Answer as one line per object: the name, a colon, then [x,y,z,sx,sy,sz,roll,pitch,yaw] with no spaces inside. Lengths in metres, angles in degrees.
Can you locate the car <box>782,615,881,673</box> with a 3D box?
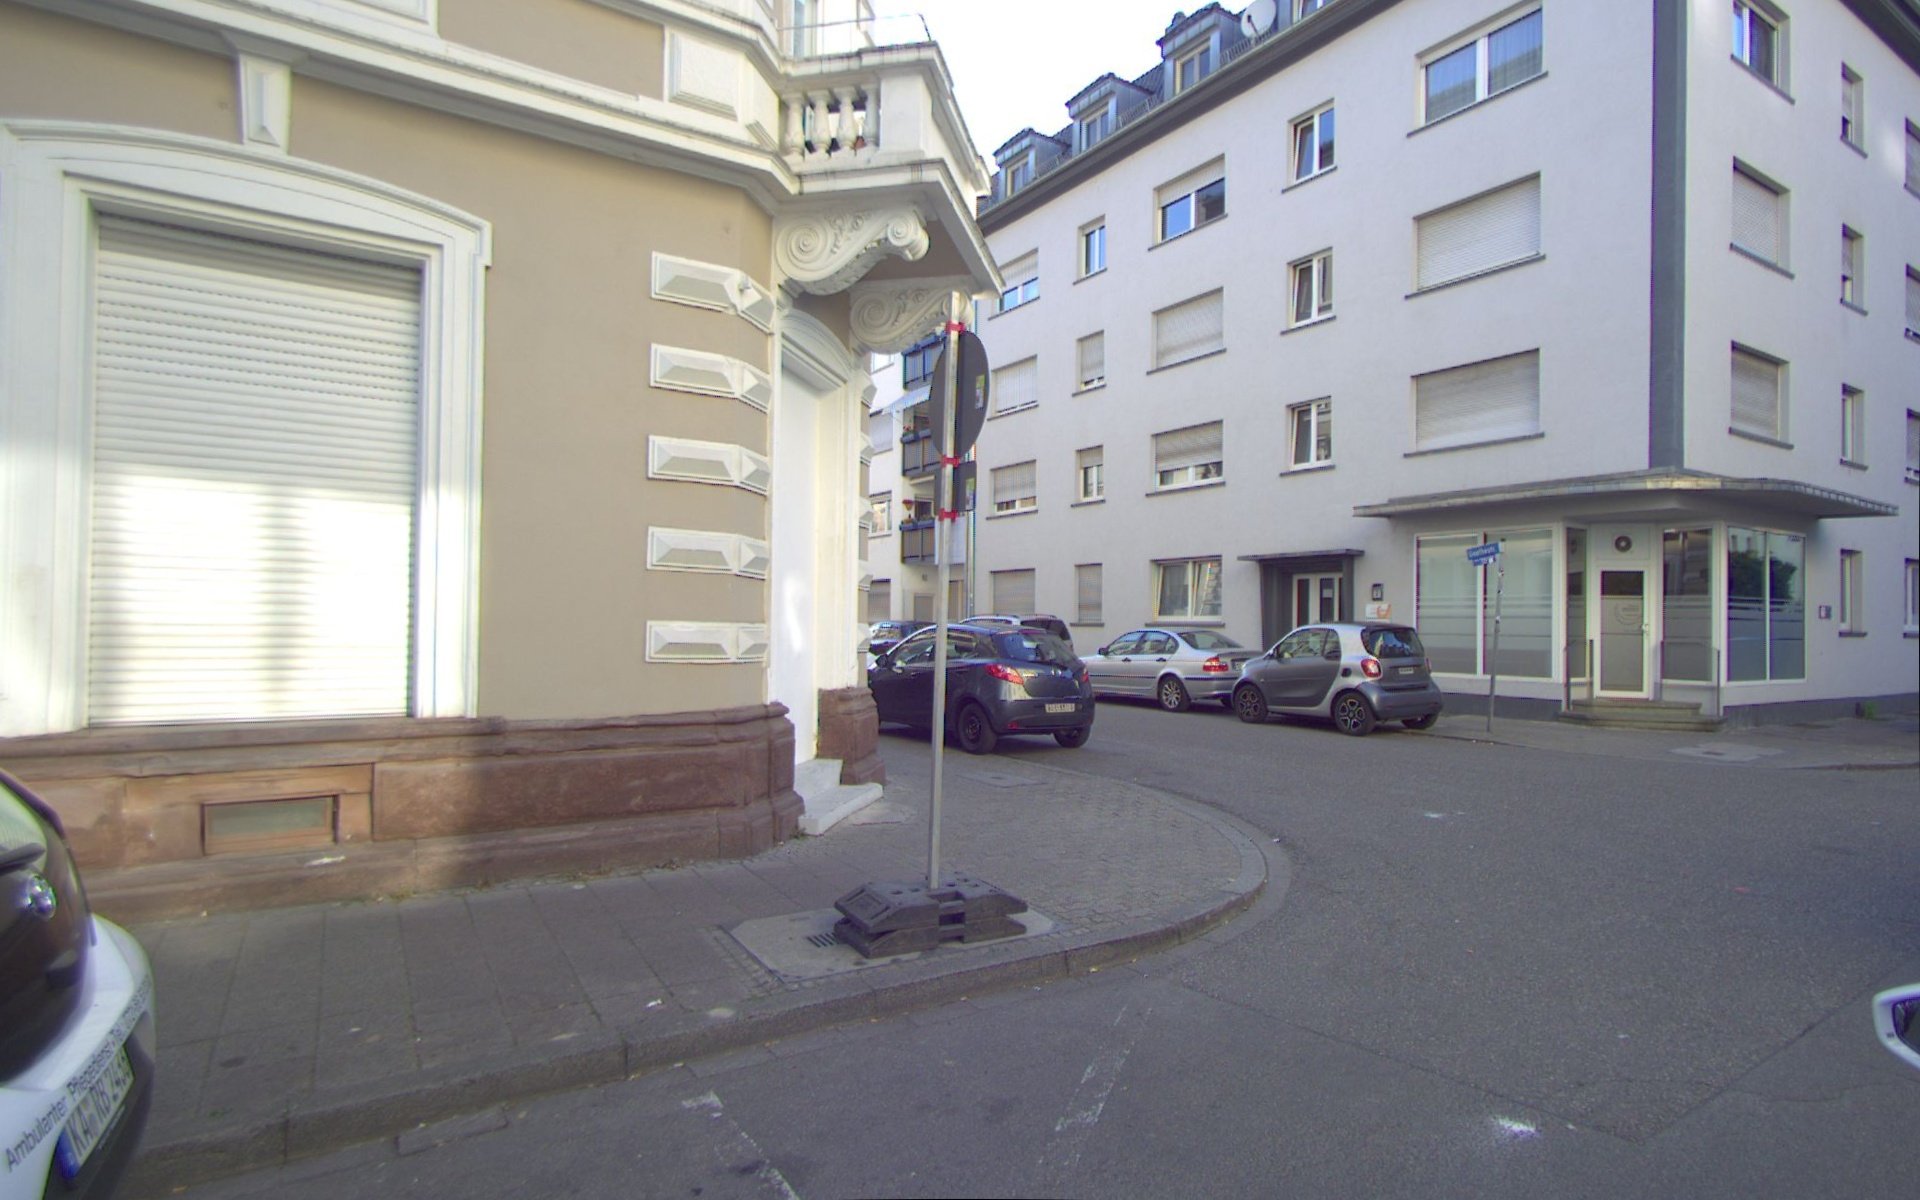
car: [-3.929,1.273,30.283,1.586,1.560,3.470,1,0,-33]

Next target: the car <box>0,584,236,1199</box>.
car: [-3.418,0.763,0.976,4.218,1.527,1.911,1,-3,-31]

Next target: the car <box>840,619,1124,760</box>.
car: [0.146,0.995,12.582,1.713,1.470,3.639,1,-1,-36]

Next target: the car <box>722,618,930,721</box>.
car: [-2.387,1.051,16.873,1.884,1.481,4.286,1,-1,-32]

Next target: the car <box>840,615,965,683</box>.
car: [-1.581,1.228,26.304,1.587,1.560,3.685,1,0,-34]

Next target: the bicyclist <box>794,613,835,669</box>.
bicyclist: [-3.866,1.071,26.602,0.727,1.431,0.932,1,0,-33]

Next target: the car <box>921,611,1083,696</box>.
car: [0.840,1.125,22.493,1.586,1.626,3.993,1,0,-33]

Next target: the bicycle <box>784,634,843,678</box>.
bicycle: [-3.910,1.460,26.673,0.727,1.041,2.096,2,0,-32]

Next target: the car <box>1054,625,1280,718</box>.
car: [3.645,1.213,18.435,1.586,1.422,4.179,1,-1,-33]

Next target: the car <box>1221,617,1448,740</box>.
car: [5.486,1.084,14.941,1.576,1.560,2.771,1,0,-31]
